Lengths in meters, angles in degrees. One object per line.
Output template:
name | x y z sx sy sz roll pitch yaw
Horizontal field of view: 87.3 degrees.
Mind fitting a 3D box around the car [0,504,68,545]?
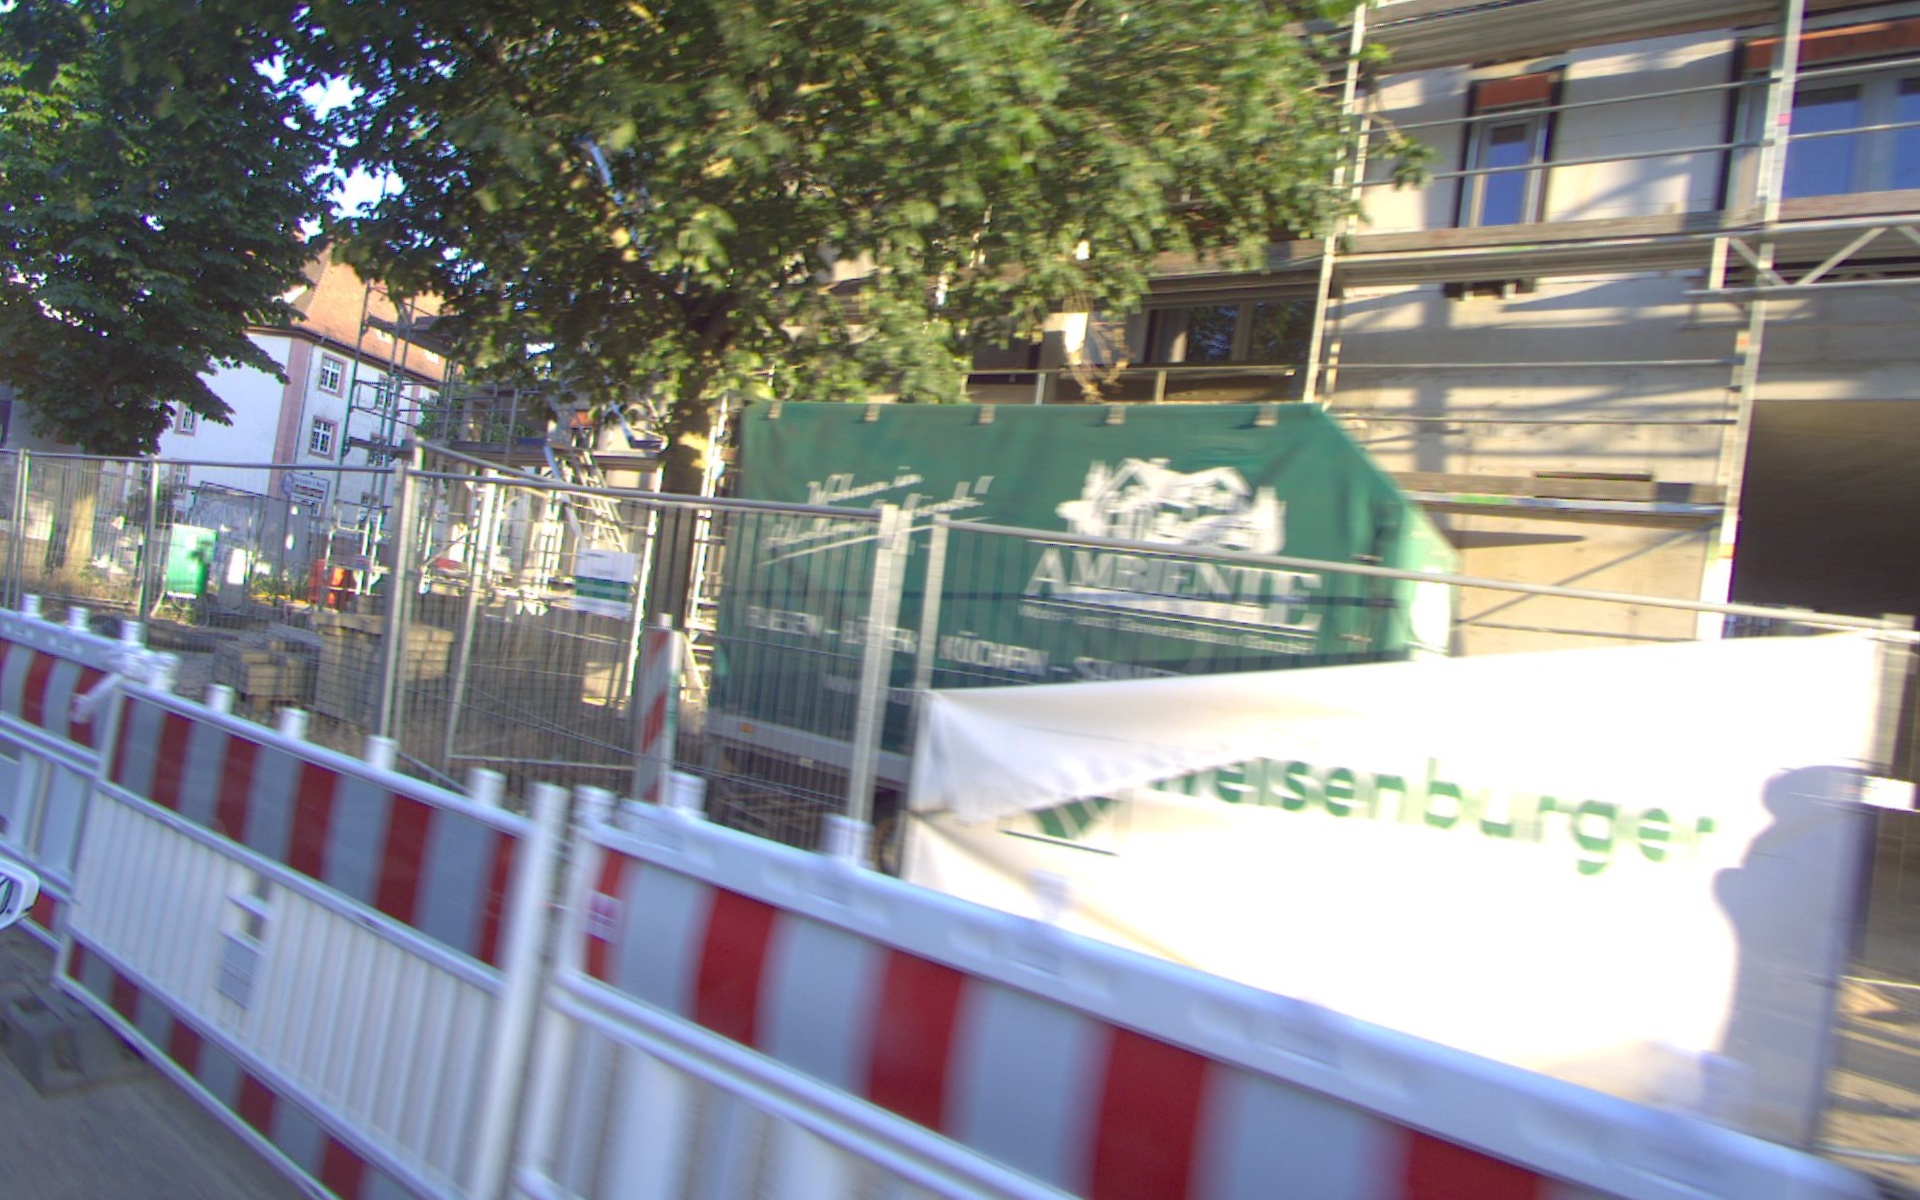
car | -46.246 -3.813 48.775 1.962 1.590 4.006 7 -2 11

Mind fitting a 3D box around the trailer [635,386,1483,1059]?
trailer | 0.456 0.363 5.784 4.118 2.569 1.997 7 -2 33
